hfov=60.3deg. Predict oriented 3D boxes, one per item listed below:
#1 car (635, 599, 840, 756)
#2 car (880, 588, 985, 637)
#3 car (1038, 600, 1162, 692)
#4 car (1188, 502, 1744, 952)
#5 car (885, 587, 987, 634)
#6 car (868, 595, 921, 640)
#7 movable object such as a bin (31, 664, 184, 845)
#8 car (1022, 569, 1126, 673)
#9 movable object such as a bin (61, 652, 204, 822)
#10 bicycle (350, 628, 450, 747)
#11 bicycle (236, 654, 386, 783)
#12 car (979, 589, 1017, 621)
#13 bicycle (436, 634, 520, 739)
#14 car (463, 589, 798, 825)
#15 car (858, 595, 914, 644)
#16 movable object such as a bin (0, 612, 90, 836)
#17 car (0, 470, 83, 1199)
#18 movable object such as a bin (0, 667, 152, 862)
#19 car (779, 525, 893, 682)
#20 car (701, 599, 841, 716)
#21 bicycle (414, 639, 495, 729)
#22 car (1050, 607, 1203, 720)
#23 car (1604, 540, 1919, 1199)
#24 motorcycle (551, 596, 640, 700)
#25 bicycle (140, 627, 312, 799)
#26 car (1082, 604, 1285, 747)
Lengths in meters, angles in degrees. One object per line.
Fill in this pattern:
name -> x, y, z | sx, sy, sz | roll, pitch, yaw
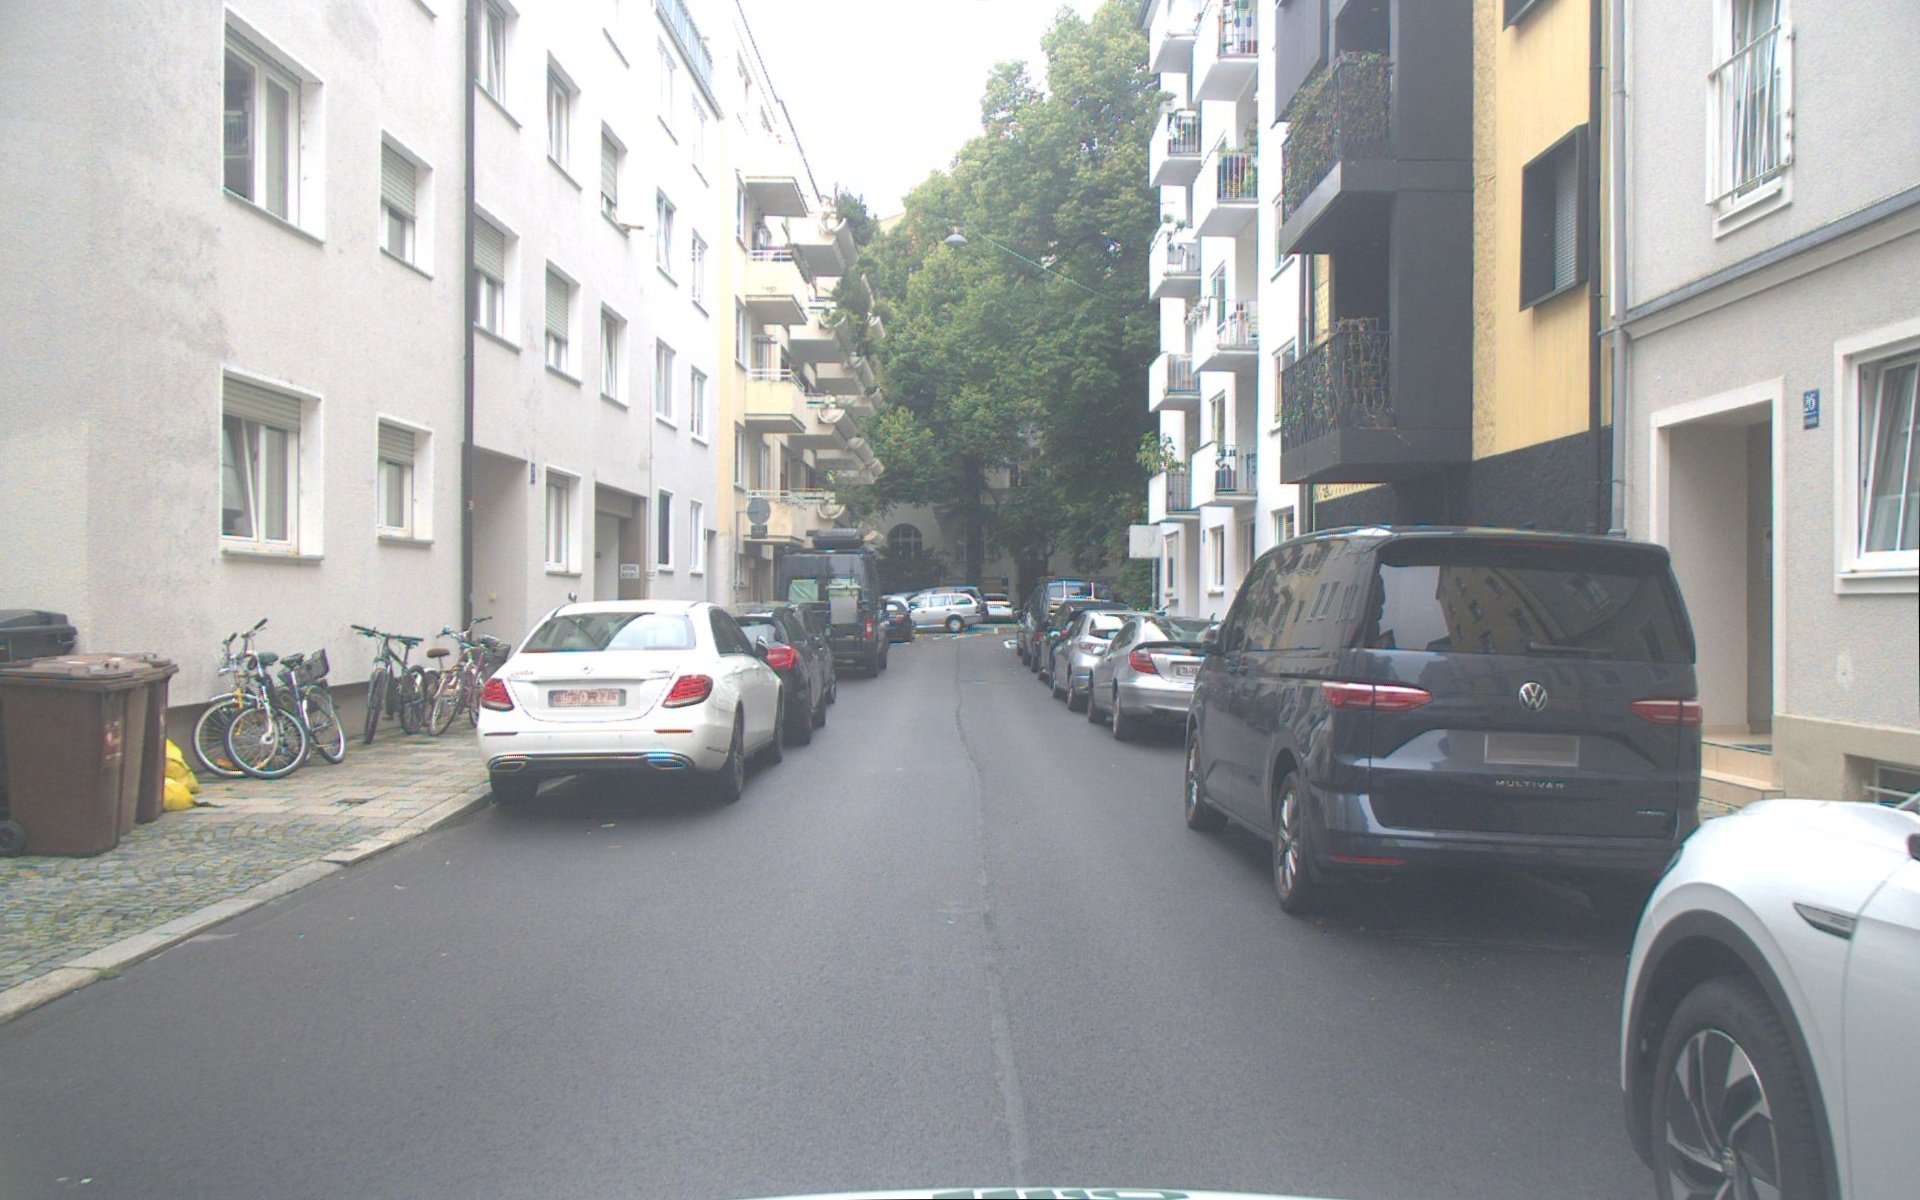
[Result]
car -> -2.371, 0.776, 18.561 | 1.741, 1.478, 4.045 | -3, 0, -1
car -> -1.042, 0.453, 61.776 | 3.807, 1.612, 1.647 | -3, 0, -2
car -> 2.516, 0.786, 30.653 | 1.792, 1.479, 4.415 | 3, 0, -1
car -> 2.555, 0.555, 9.563 | 1.792, 1.943, 4.415 | 2, 0, 0
car -> -0.924, 0.388, 63.731 | 3.807, 1.612, 1.647 | -3, 0, -2
car -> -2.181, 0.563, 55.766 | 1.609, 1.407, 3.482 | -3, 0, -1
movable object such as a bin -> -5.216, 0.933, 10.148 | 0.637, 1.038, 0.584 | 2, 0, -7
car -> 2.411, 0.427, 35.962 | 1.792, 2.034, 4.415 | 3, 0, -1
movable object such as a bin -> -5.358, 0.876, 10.743 | 0.637, 1.038, 0.584 | 2, 0, -7
bicycle -> -5.523, 0.835, 16.397 | 0.388, 1.069, 1.759 | 2, 0, -1
bicycle -> -5.268, 0.928, 13.543 | 0.388, 0.884, 2.132 | 2, 0, -1
car -> 1.789, 0.242, 78.843 | 1.609, 1.407, 3.745 | -3, 0, -1
bicycle -> -5.046, 0.882, 17.372 | 0.388, 0.999, 1.655 | 2, 0, -1
car -> -2.451, 0.713, 13.440 | 1.740, 1.513, 4.519 | -3, 0, 0
car -> -2.289, 0.583, 51.827 | 1.609, 1.407, 3.482 | -3, 0, -1
movable object such as a bin -> -6.396, 0.785, 10.631 | 1.026, 1.360, 0.993 | -2, 0, 2
car -> -2.267, 0.661, 0.401 | 1.740, 1.658, 4.414 | -1, 0, 0
movable object such as a bin -> -5.087, 0.929, 9.479 | 0.637, 1.038, 0.584 | 1, 1, -7
car -> -2.404, 0.065, 33.219 | 1.897, 2.850, 4.532 | -3, 0, -1
car -> -2.632, 0.759, 23.600 | 1.609, 1.478, 3.161 | -3, 0, -1
bicycle -> -5.520, 0.901, 18.128 | 0.388, 0.884, 1.614 | 2, 0, -1
car -> 2.485, 0.910, 25.678 | 1.792, 1.479, 4.415 | 3, 0, -1
car -> 2.431, 0.738, 1.808 | 1.648, 1.595, 4.415 | 3, 0, -1
motorcycle -> -5.102, 0.640, 23.302 | 0.666, 1.374, 2.486 | 1, 0, 1
bicycle -> -5.603, 0.817, 12.747 | 0.388, 1.086, 2.133 | 2, 2, -1
car -> 2.639, 0.841, 20.513 | 1.792, 1.479, 4.415 | 3, 0, -1
